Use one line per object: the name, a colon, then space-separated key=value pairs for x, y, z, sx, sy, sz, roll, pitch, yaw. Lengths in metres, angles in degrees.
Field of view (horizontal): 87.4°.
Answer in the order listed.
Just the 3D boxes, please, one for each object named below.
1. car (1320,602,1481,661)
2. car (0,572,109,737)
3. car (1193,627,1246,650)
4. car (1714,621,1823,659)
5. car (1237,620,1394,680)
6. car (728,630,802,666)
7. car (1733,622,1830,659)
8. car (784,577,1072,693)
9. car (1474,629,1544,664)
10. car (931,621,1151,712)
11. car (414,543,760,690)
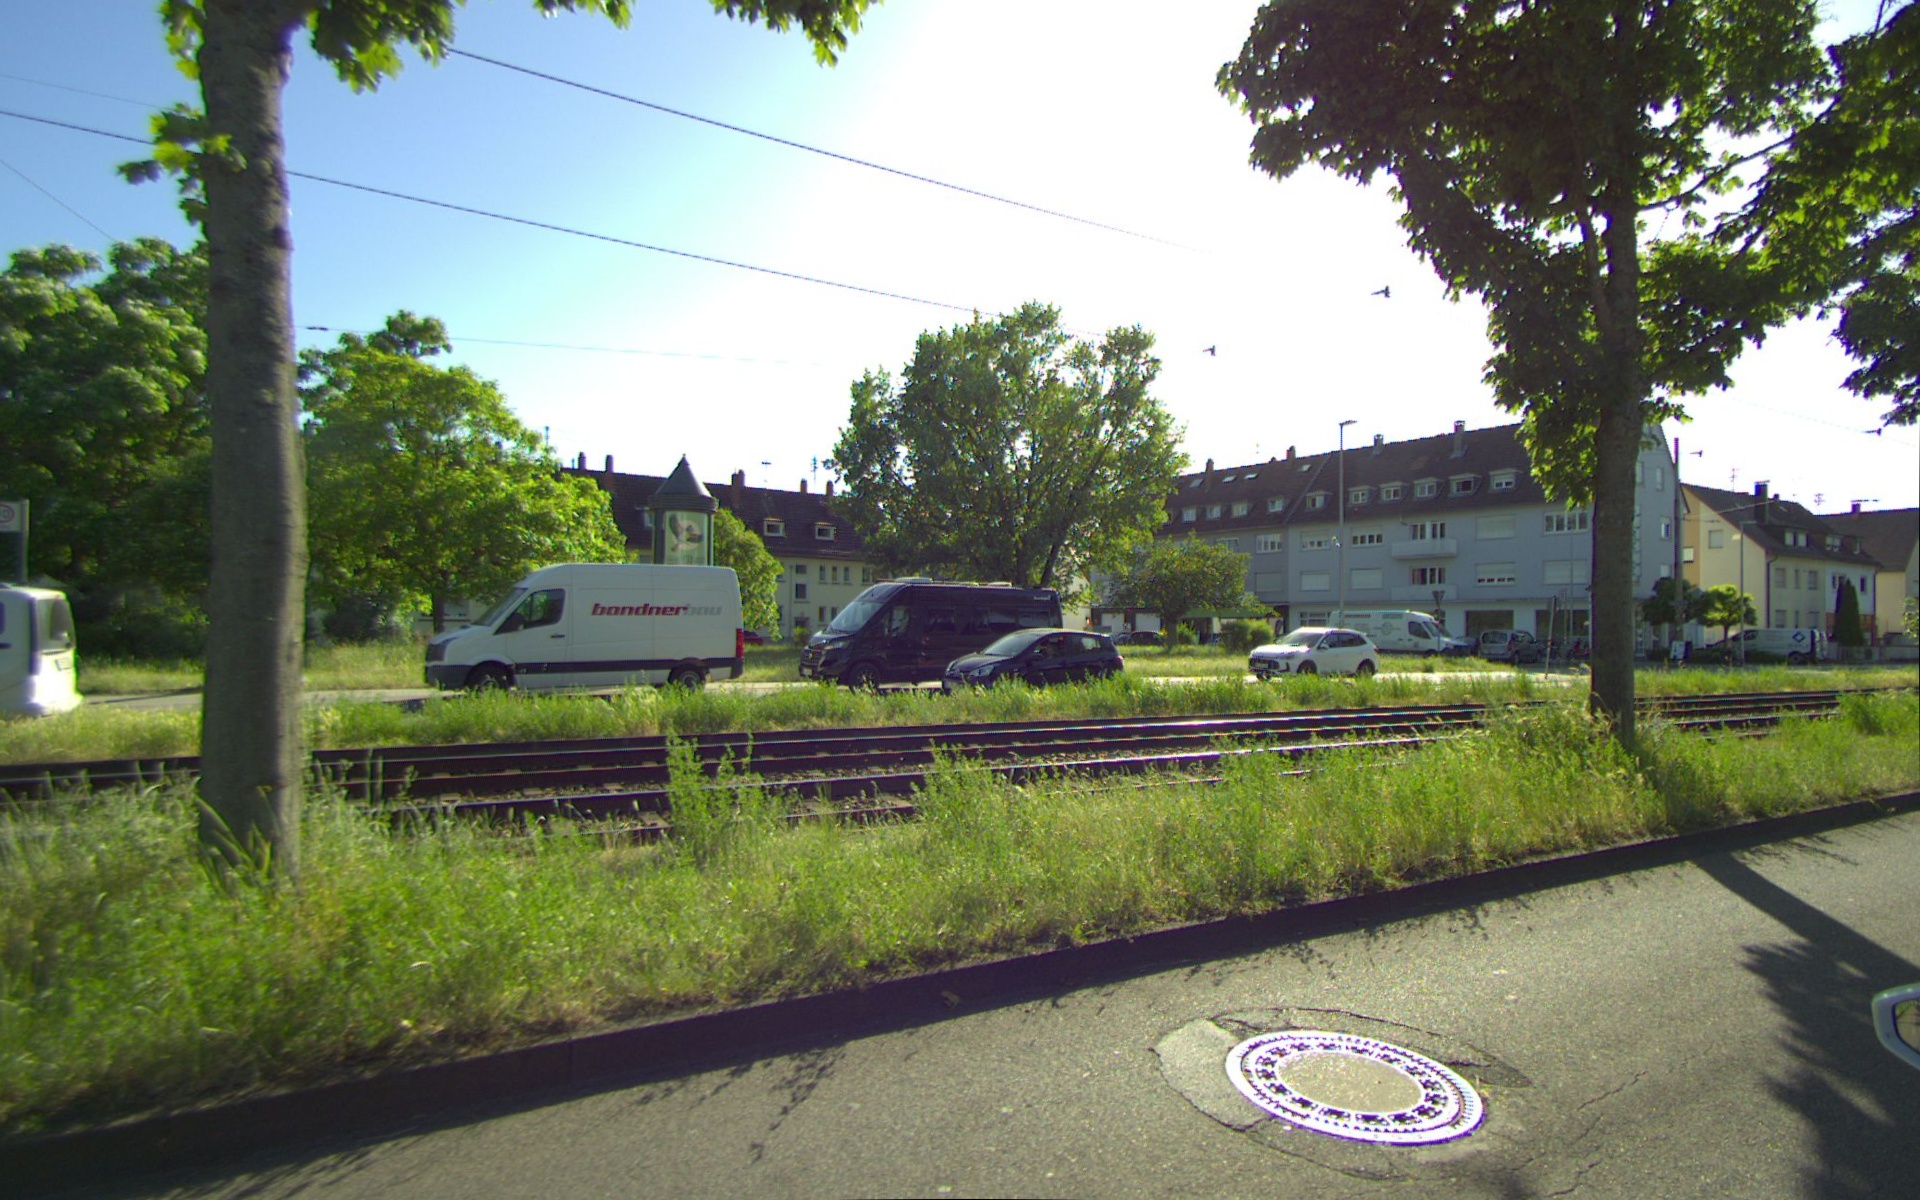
car: x=21.193 y=1.463 z=48.742 sx=2.306 sy=2.541 sz=7.022 roll=2 pitch=0 yaw=-34
car: x=-12.437 y=0.505 z=10.621 sx=4.924 sy=1.767 sz=1.802 roll=3 pitch=0 yaw=-30
car: x=17.434 y=2.601 z=67.494 sx=3.596 sy=1.484 sz=1.518 roll=2 pitch=-1 yaw=-36
car: x=46.111 y=2.233 z=57.373 sx=1.984 sy=1.971 sz=4.579 roll=2 pitch=-1 yaw=-40
car: x=10.748 y=1.525 z=30.269 sx=4.718 sy=1.628 sz=1.814 roll=3 pitch=0 yaw=-30
car: x=-11.847 y=2.906 z=61.047 sx=3.956 sy=2.040 sz=1.982 roll=3 pitch=0 yaw=-32
car: x=48.113 y=2.331 z=58.850 sx=1.984 sy=1.978 sz=4.103 roll=2 pitch=-1 yaw=-40
car: x=-0.653 y=0.844 z=23.413 sx=6.389 sy=2.408 sz=2.172 roll=3 pitch=0 yaw=-30
car: x=28.873 y=2.434 z=52.759 sx=4.066 sy=1.692 sz=1.781 roll=3 pitch=0 yaw=-39
car: x=1.540 y=1.204 z=19.099 sx=3.705 sy=1.551 sz=1.985 roll=1 pitch=-1 yaw=-29
car: x=-7.202 y=0.387 z=19.721 sx=6.067 sy=2.529 sz=1.991 roll=3 pitch=0 yaw=-31
